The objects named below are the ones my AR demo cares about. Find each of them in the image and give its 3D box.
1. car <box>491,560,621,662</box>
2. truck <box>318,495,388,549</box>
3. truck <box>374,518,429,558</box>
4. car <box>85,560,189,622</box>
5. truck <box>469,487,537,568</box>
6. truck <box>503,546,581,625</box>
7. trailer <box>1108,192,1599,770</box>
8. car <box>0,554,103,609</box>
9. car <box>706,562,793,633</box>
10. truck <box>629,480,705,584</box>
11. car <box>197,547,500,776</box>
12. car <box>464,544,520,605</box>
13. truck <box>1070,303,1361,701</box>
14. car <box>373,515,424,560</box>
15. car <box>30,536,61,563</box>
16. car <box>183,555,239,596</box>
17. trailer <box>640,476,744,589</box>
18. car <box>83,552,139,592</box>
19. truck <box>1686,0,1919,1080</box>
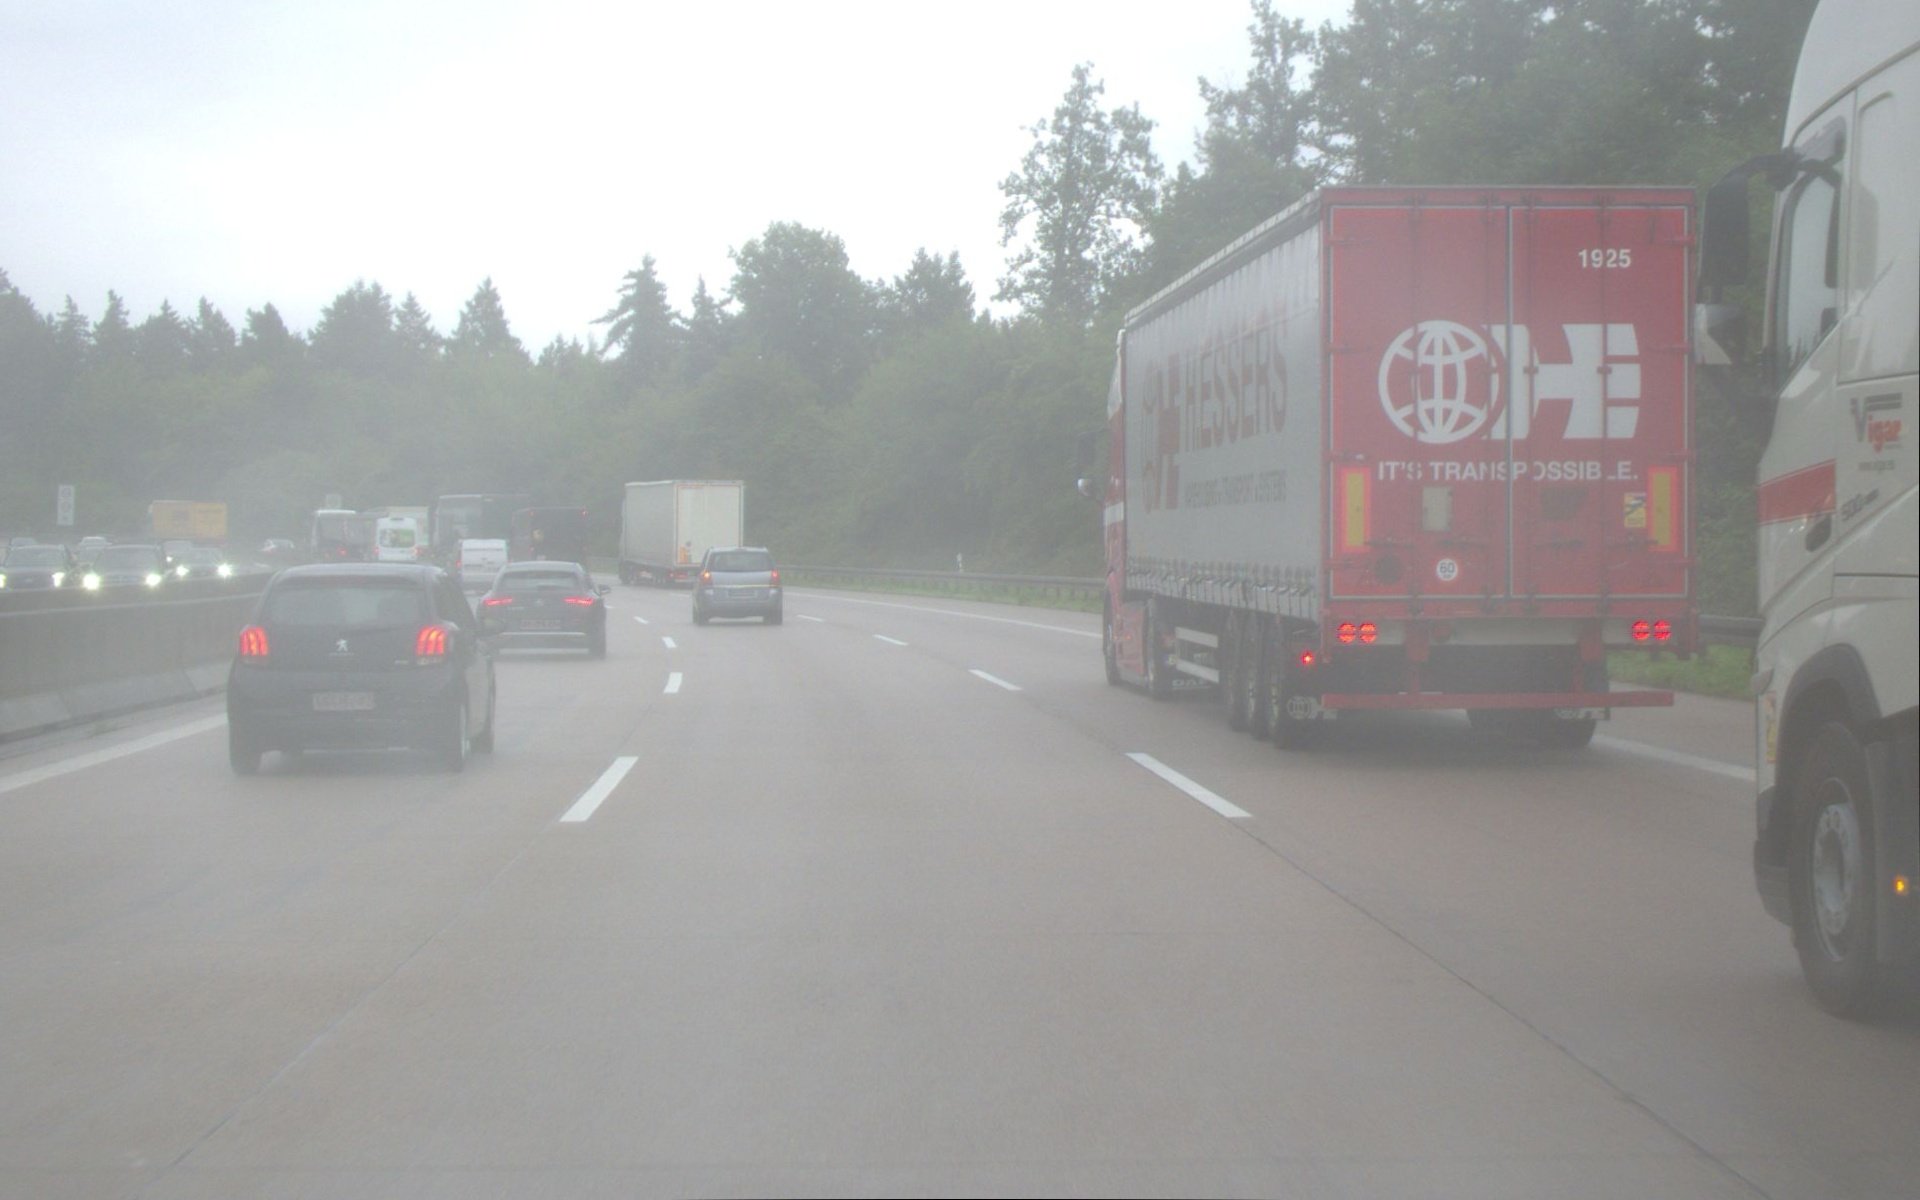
[{"bbox_3d":[-5.806,0.133,49.711,1.553,1.347,3.684,2,1,-3],"label":"car"},{"bbox_3d":[-34.949,-4.497,197.615,3.081,2.895,7.906,1,2,-16],"label":"truck"},{"bbox_3d":[-34.636,-3.850,213.007,2.973,2.301,6.669,2,1,-12],"label":"truck"},{"bbox_3d":[-18.578,-0.226,77.714,1.653,1.342,4.087,1,1,-4],"label":"car"},{"bbox_3d":[-24.315,-3.879,182.531,3.368,4.117,10.440,1,2,-9],"label":"truck"},{"bbox_3d":[-17.045,-0.616,139.900,2.269,2.877,7.906,1,2,-13],"label":"truck"},{"bbox_3d":[2.967,-0.909,29.834,2.370,3.940,12.522,0,1,-2],"label":"trailer"},{"bbox_3d":[-23.141,-0.487,87.513,1.804,1.342,4.767,1,1,-4],"label":"car"},{"bbox_3d":[-4.336,-0.072,71.208,1.554,1.347,3.684,2,1,0],"label":"car"},{"bbox_3d":[-11.748,-2.723,137.490,2.419,4.054,4.980,1,1,-11],"label":"truck"},{"bbox_3d":[-4.337,0.387,24.844,1.683,1.457,3.684,2,1,-3],"label":"car"},{"bbox_3d":[-15.508,-0.865,114.101,1.725,2.007,3.657,0,1,-6],"label":"car"},{"bbox_3d":[2.641,-1.019,37.304,2.374,3.940,6.161,0,1,-3],"label":"truck"},{"bbox_3d":[-25.866,-2.884,158.213,1.993,2.052,4.001,0,1,-14],"label":"car"},{"bbox_3d":[-56.827,-3.137,213.745,1.808,1.678,4.001,0,1,-14],"label":"car"},{"bbox_3d":[-25.512,-0.853,117.148,1.653,1.342,4.087,0,1,-10],"label":"car"},{"bbox_3d":[-10.236,-2.621,130.311,2.419,4.054,12.059,1,2,-11],"label":"trailer"},{"bbox_3d":[-29.575,-0.993,119.851,1.653,1.342,4.087,0,1,-10],"label":"car"},{"bbox_3d":[4.137,-0.673,9.673,2.798,4.089,5.968,0,1,-1],"label":"truck"}]
